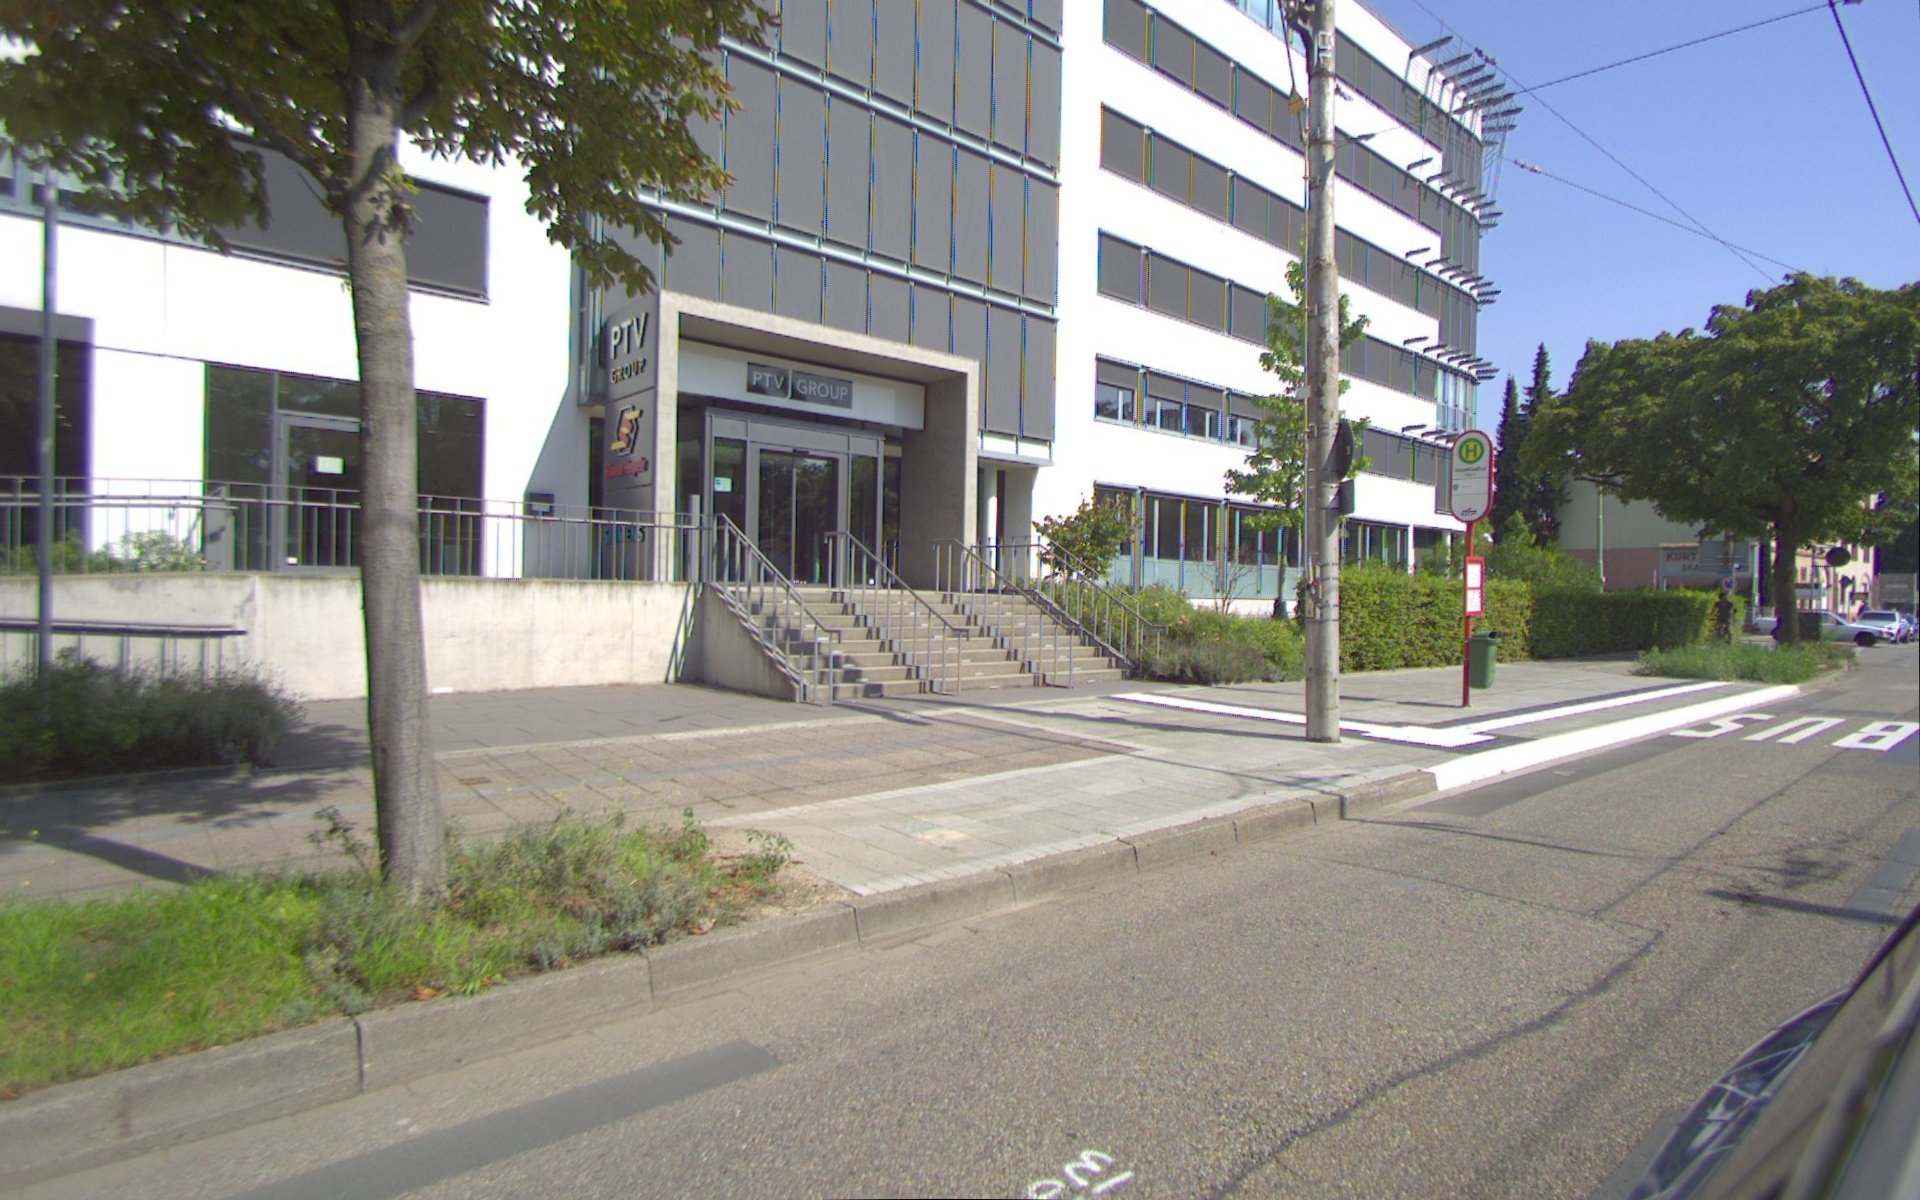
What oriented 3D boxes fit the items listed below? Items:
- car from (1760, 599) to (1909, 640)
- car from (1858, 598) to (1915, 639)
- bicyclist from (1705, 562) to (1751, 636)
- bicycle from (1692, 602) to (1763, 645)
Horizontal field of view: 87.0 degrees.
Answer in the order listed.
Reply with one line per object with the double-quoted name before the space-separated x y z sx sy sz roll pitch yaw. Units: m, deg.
"car" 36.043 0.753 41.795 4.541 1.534 1.930 1 1 45
"car" 46.500 0.869 50.766 1.955 1.946 4.481 1 1 44
"bicyclist" 21.796 -0.028 28.727 1.252 2.039 0.782 0 0 -41
"bicycle" 21.849 0.641 28.788 2.492 1.139 1.137 0 1 -41
